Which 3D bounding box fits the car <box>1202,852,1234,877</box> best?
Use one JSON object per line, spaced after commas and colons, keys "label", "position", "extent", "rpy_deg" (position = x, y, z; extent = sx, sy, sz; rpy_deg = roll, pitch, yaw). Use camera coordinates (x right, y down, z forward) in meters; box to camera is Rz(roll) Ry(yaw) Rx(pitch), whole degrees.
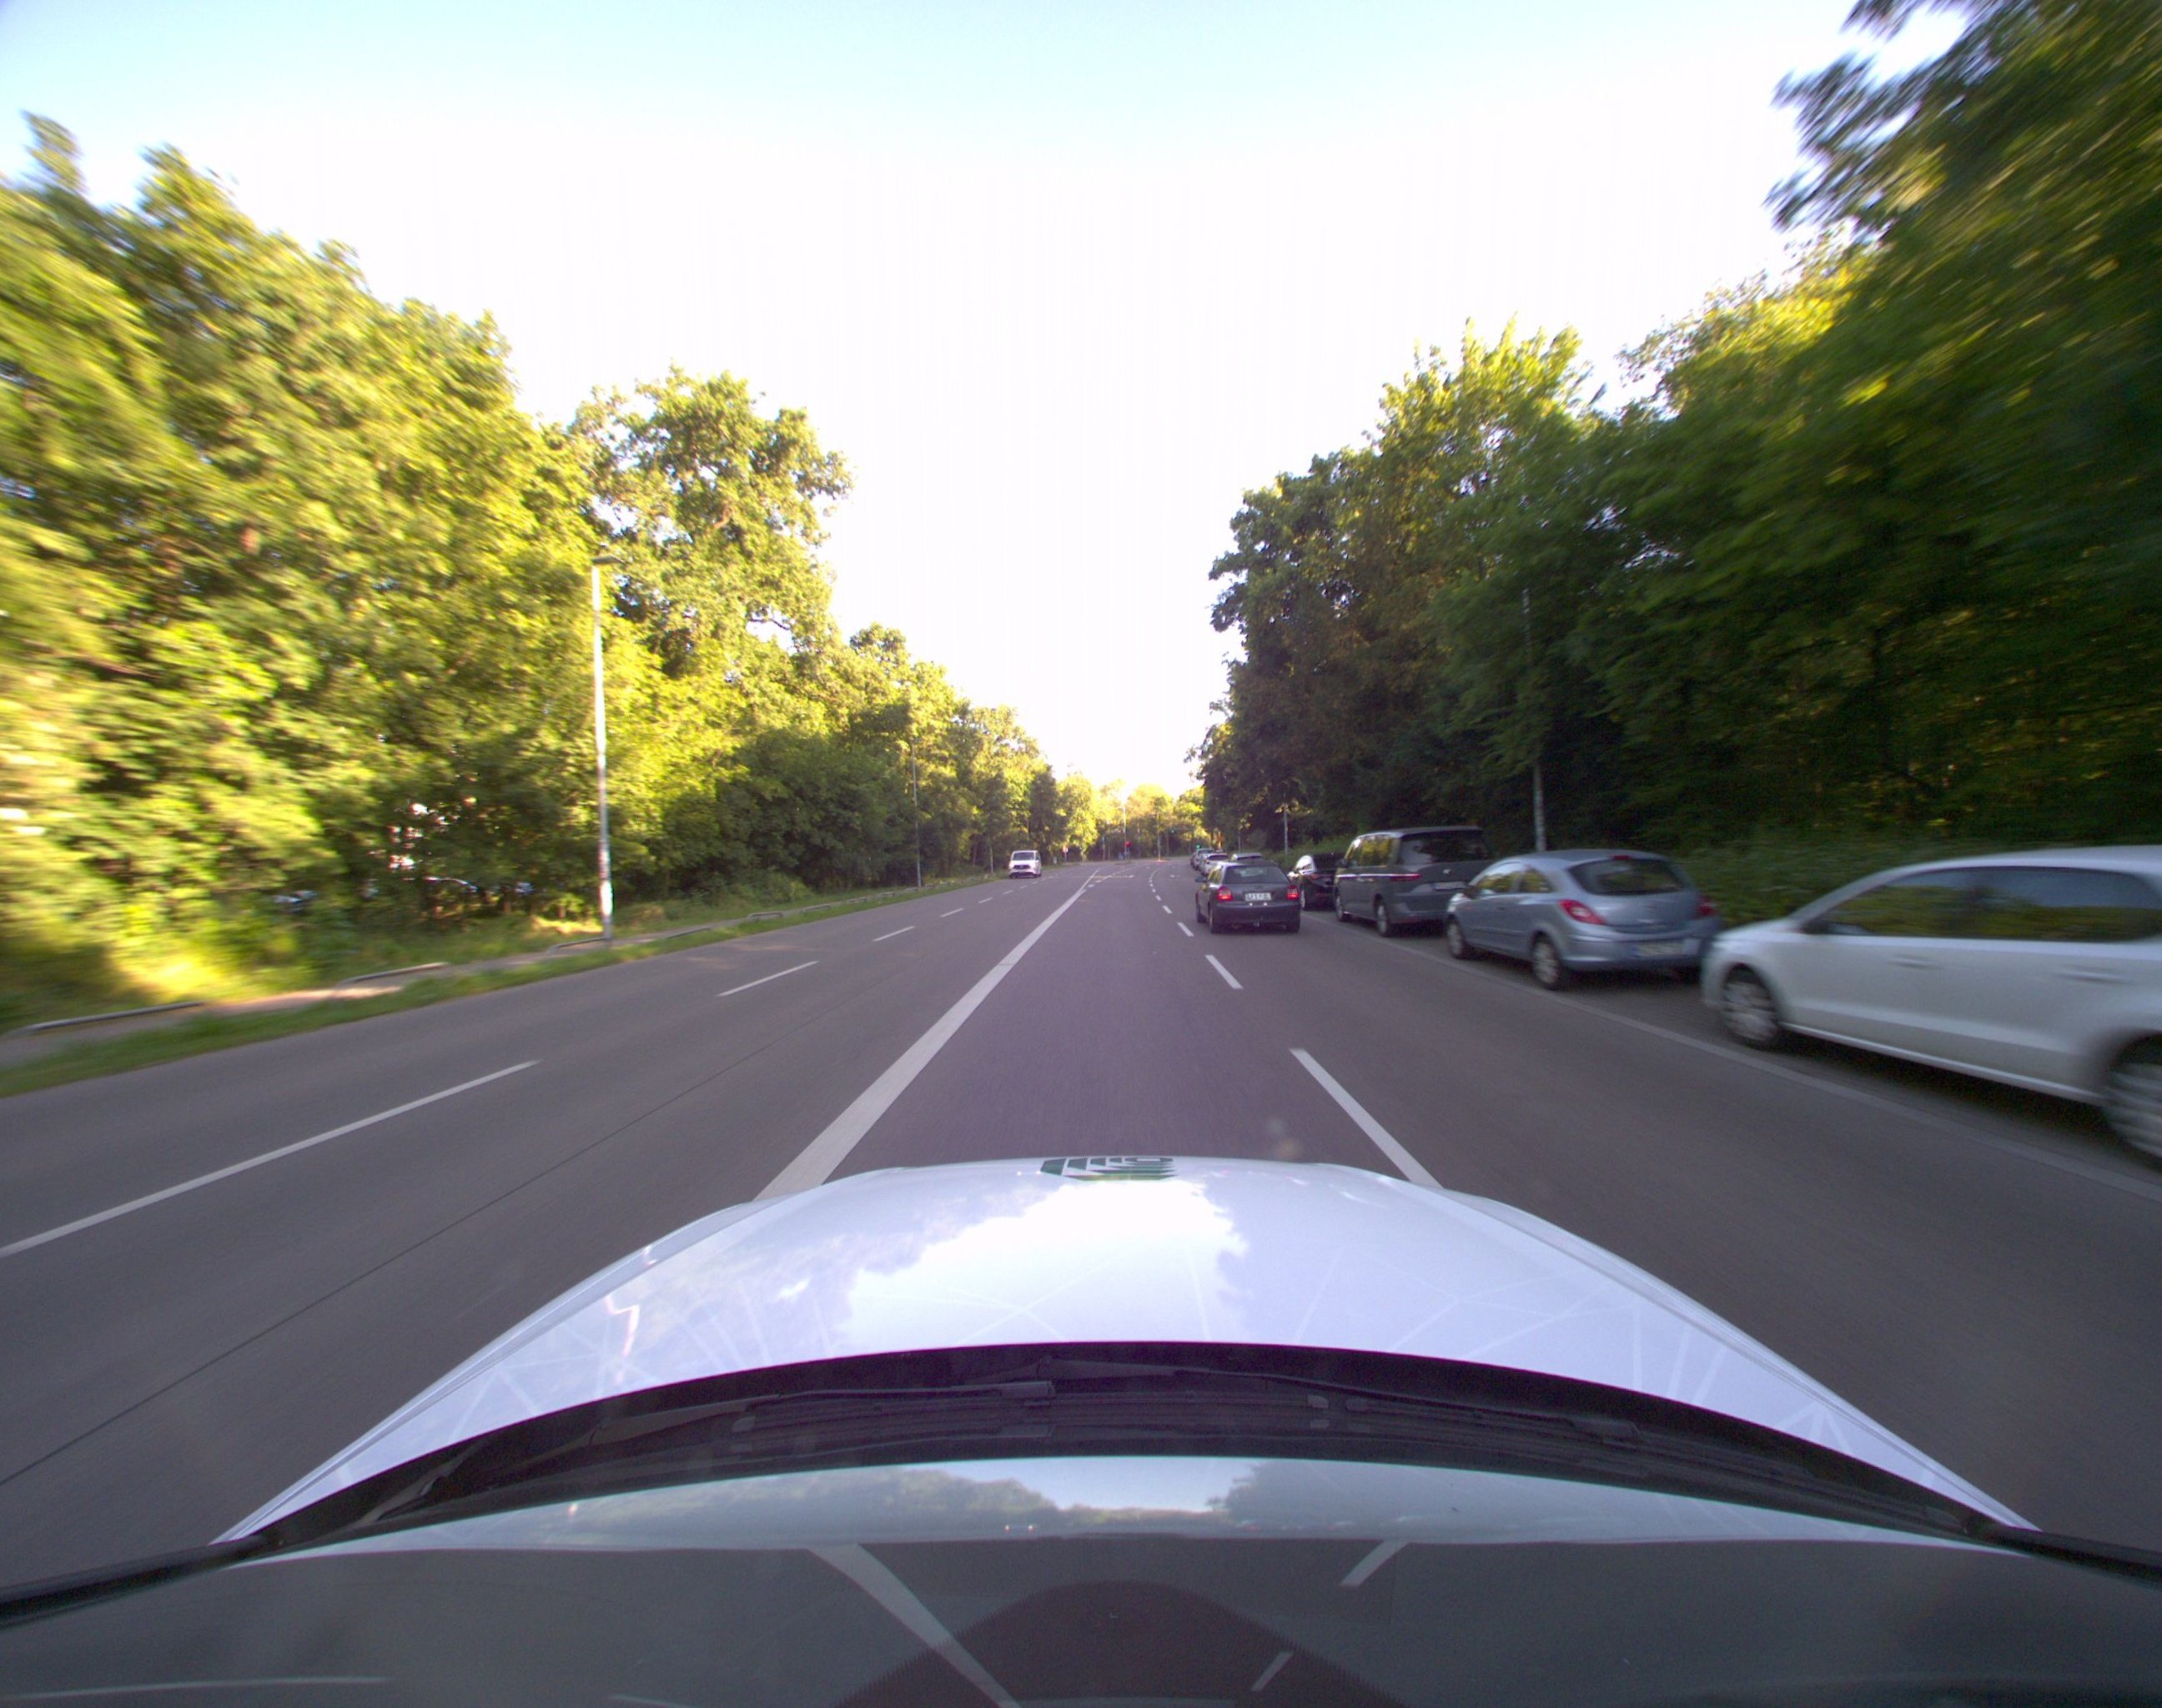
{"label": "car", "position": [8.871, 0.672, 52.983], "extent": [1.719, 1.522, 4.097], "rpy_deg": [-2, 0, 6]}

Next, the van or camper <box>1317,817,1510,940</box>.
{"label": "van or camper", "position": [6.242, 0.410, 16.047], "extent": [1.885, 1.948, 5.138], "rpy_deg": [-3, 0, 3]}

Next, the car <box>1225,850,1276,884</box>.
{"label": "car", "position": [7.882, 0.573, 38.239], "extent": [1.720, 1.441, 4.672], "rpy_deg": [-2, 0, 4]}

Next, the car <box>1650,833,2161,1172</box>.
{"label": "car", "position": [5.742, 0.651, 4.993], "extent": [1.720, 1.441, 4.104], "rpy_deg": [-4, 0, 3]}

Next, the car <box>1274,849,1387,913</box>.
{"label": "car", "position": [6.671, 0.664, 22.389], "extent": [1.830, 1.441, 4.963], "rpy_deg": [-4, 0, 4]}

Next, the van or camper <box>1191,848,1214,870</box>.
{"label": "van or camper", "position": [11.219, 0.455, 75.273], "extent": [1.823, 1.970, 5.350], "rpy_deg": [-1, 0, 6]}

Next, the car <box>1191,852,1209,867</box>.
{"label": "car", "position": [12.375, 0.550, 84.821], "extent": [1.641, 1.441, 4.121], "rpy_deg": [-1, 0, 7]}

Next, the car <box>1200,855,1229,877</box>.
{"label": "car", "position": [9.397, 0.810, 57.646], "extent": [1.719, 1.409, 4.097], "rpy_deg": [-3, 0, 6]}

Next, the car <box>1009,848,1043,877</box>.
{"label": "car", "position": [-3.876, 0.613, 58.655], "extent": [1.986, 1.992, 4.998], "rpy_deg": [0, -1, 1]}

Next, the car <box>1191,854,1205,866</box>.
{"label": "car", "position": [15.254, 0.734, 106.416], "extent": [1.718, 1.461, 4.176], "rpy_deg": [-3, 0, 8]}

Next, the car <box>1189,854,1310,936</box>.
{"label": "car", "position": [3.332, 0.747, 16.851], "extent": [1.721, 1.441, 4.090], "rpy_deg": [-1, 0, 1]}

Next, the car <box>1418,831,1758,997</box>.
{"label": "car", "position": [5.878, 0.597, 10.163], "extent": [1.720, 1.543, 4.220], "rpy_deg": [-3, 0, 3]}

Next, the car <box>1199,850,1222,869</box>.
{"label": "car", "position": [10.993, 0.455, 69.376], "extent": [1.640, 1.522, 3.872], "rpy_deg": [-2, 0, 5]}
